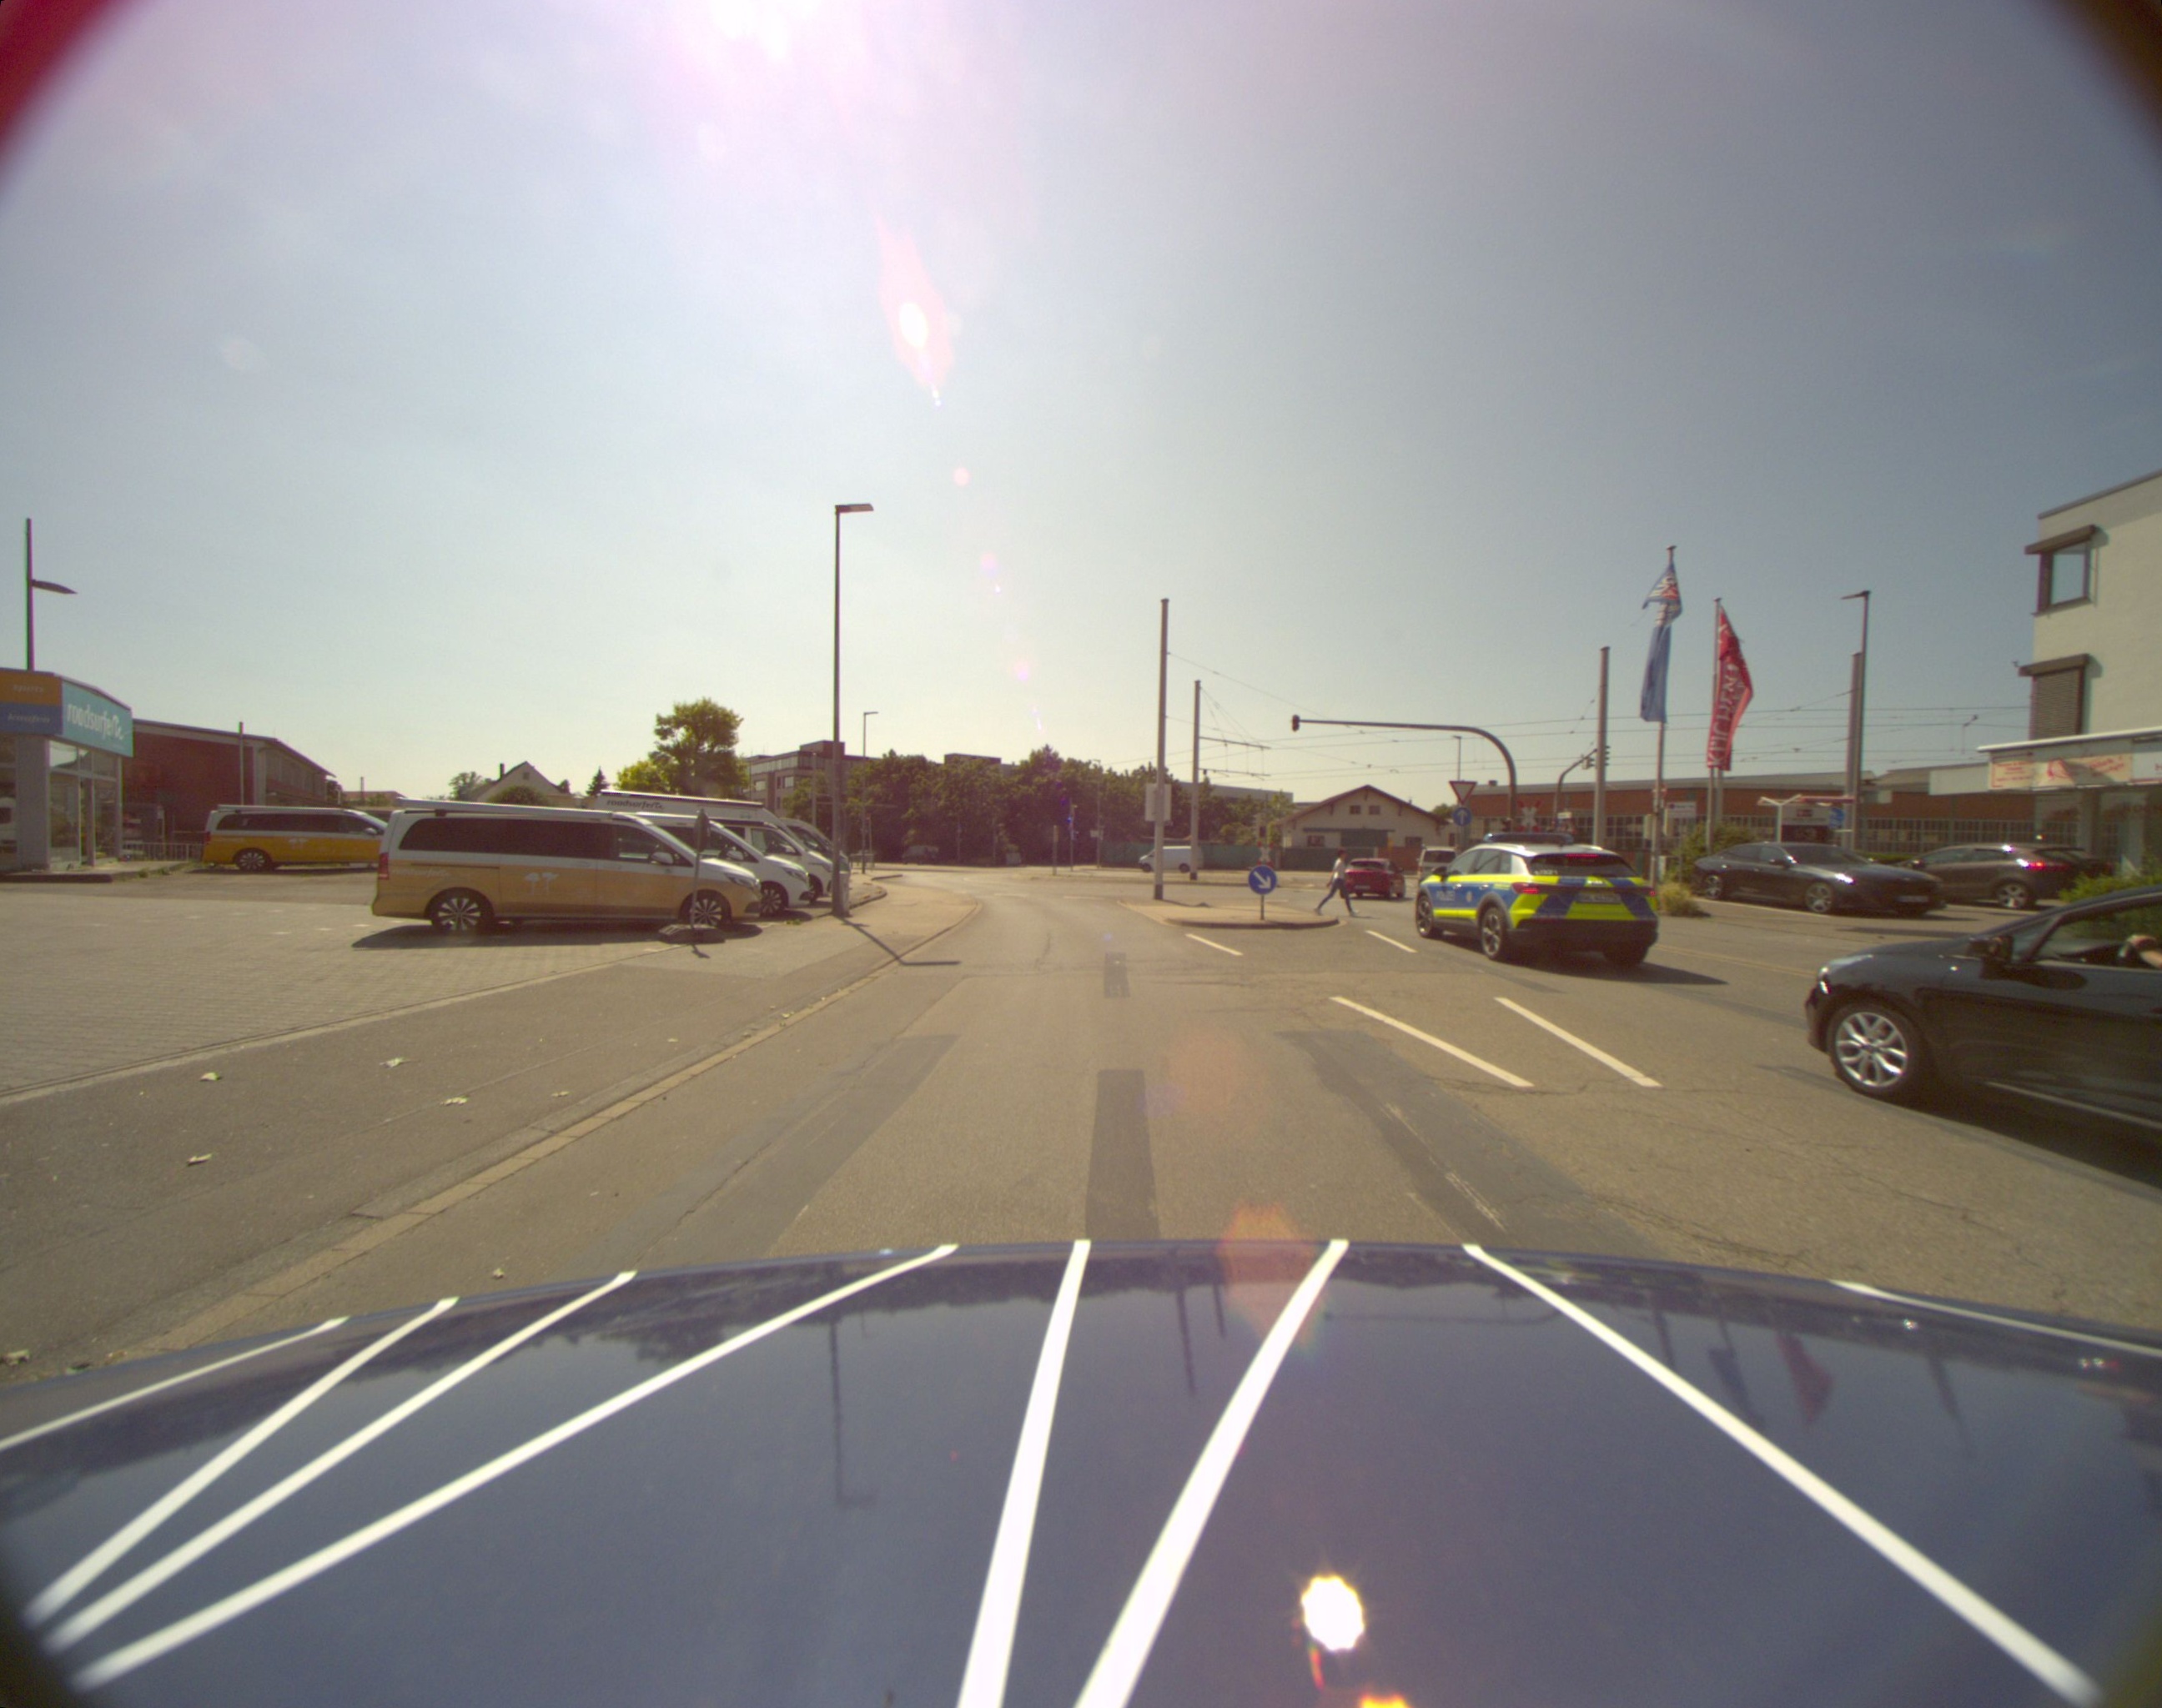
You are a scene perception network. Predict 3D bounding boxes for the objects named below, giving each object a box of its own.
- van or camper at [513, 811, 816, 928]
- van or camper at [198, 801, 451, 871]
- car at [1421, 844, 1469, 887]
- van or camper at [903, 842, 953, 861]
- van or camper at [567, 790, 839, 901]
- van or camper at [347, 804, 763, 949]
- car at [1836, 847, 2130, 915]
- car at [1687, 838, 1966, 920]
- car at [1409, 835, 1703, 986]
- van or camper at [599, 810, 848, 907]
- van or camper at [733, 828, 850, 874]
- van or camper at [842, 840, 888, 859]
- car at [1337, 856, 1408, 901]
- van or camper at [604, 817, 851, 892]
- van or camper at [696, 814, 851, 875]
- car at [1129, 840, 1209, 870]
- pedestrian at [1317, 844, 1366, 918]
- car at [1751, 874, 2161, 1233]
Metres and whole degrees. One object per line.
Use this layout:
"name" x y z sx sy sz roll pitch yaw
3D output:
"van or camper" -8.125 0.294 15.268 4.990 2.033 2.037 1 1 -28
"van or camper" -23.851 -0.497 24.361 5.430 2.027 2.287 1 1 -35
"car" 18.021 0.541 37.541 1.992 1.935 4.445 1 0 27
"van or camper" -15.306 -0.291 75.841 2.509 1.817 5.280 1 1 -44
"van or camper" -10.228 -0.179 20.835 6.376 2.621 2.526 1 1 -33
"van or camper" -8.055 0.338 12.309 5.145 1.950 1.982 2 2 -28
"car" 21.094 0.554 18.156 1.911 1.380 4.486 1 0 5
"car" 16.591 0.475 17.369 1.911 1.564 4.819 1 0 5
"car" 6.542 0.653 11.162 1.897 1.748 4.355 1 0 6
"van or camper" -8.554 0.117 18.417 5.148 2.064 2.446 1 1 -30
"van or camper" -17.569 -0.151 46.219 6.071 2.629 2.778 1 1 -37
"van or camper" -24.132 -0.495 84.723 5.221 2.002 2.509 1 1 41
"car" 10.669 0.825 27.632 1.763 1.446 4.117 1 1 30
"van or camper" -11.211 0.031 24.362 6.861 2.122 2.778 1 1 -32
"van or camper" -15.860 -0.442 39.503 6.863 2.868 2.777 1 1 -42
"car" 6.584 0.067 56.976 5.517 2.121 2.217 1 1 28
"pedestrian" 6.140 0.618 17.953 0.995 1.676 0.800 1 1 13
"car" 5.419 0.910 3.215 1.664 1.446 4.242 3 1 6
